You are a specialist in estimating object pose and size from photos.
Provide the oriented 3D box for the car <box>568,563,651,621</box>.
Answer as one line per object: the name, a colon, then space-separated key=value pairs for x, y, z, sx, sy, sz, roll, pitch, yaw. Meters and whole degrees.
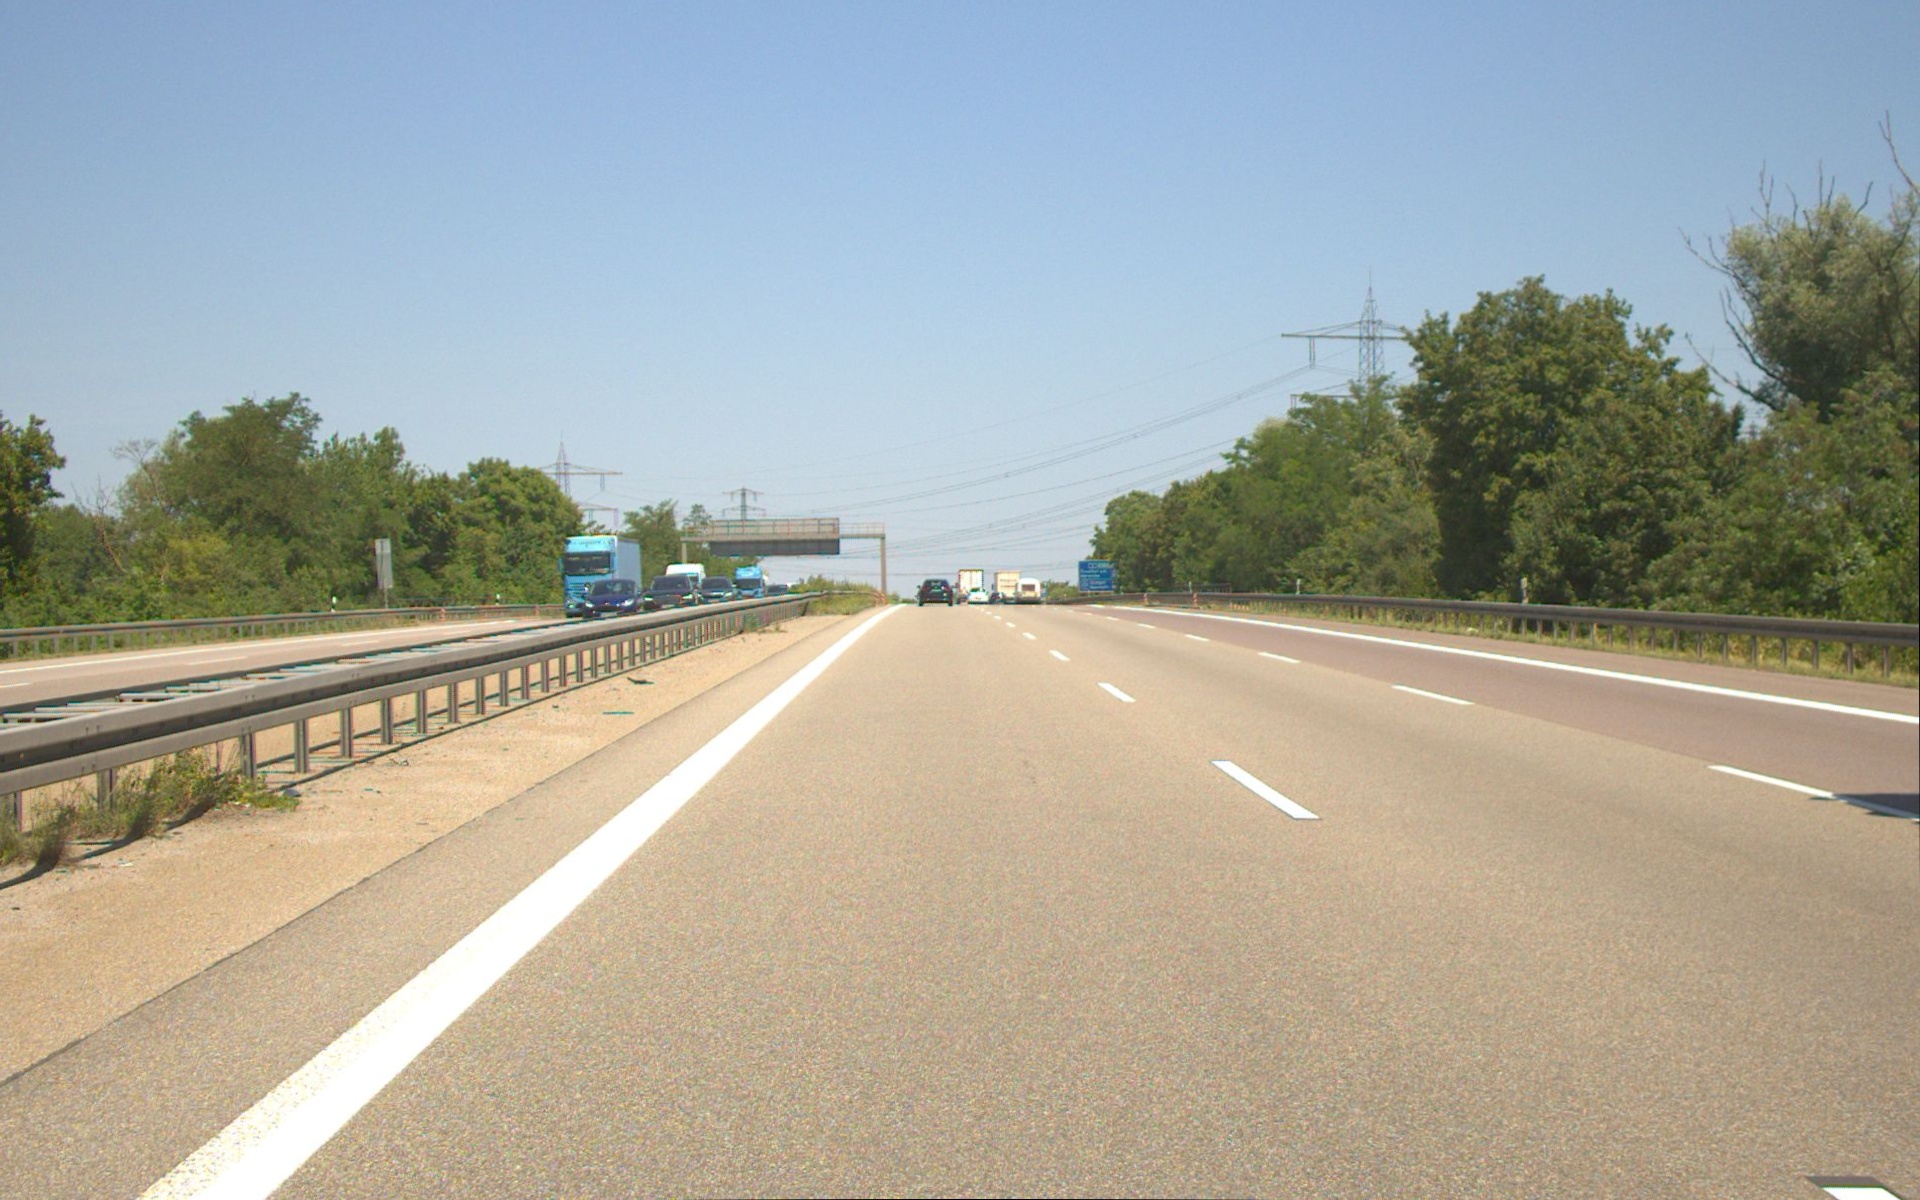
car: x=-10.755 y=-0.264 z=105.789 sx=1.993 sy=1.599 sz=4.600 roll=-5 pitch=1 yaw=0

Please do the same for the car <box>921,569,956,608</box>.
car: x=-1.110 y=-0.607 z=180.568 sx=1.791 sy=2.007 sz=3.887 roll=1 pitch=0 yaw=0

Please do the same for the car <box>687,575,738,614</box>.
car: x=-11.238 y=-0.279 z=156.500 sx=1.993 sy=1.684 sz=4.408 roll=-2 pitch=0 yaw=0

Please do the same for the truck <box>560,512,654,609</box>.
truck: x=-18.417 y=-2.024 z=180.579 sx=3.225 sy=4.704 sz=16.860 roll=-3 pitch=0 yaw=-1

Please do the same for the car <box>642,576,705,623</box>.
car: x=-10.583 y=-0.036 z=127.225 sx=1.993 sy=1.684 sz=4.408 roll=-1 pitch=1 yaw=0

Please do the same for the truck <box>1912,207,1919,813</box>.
truck: x=7.866 y=-0.552 z=14.143 sx=2.969 sy=3.944 sz=16.614 roll=1 pitch=0 yaw=-1
